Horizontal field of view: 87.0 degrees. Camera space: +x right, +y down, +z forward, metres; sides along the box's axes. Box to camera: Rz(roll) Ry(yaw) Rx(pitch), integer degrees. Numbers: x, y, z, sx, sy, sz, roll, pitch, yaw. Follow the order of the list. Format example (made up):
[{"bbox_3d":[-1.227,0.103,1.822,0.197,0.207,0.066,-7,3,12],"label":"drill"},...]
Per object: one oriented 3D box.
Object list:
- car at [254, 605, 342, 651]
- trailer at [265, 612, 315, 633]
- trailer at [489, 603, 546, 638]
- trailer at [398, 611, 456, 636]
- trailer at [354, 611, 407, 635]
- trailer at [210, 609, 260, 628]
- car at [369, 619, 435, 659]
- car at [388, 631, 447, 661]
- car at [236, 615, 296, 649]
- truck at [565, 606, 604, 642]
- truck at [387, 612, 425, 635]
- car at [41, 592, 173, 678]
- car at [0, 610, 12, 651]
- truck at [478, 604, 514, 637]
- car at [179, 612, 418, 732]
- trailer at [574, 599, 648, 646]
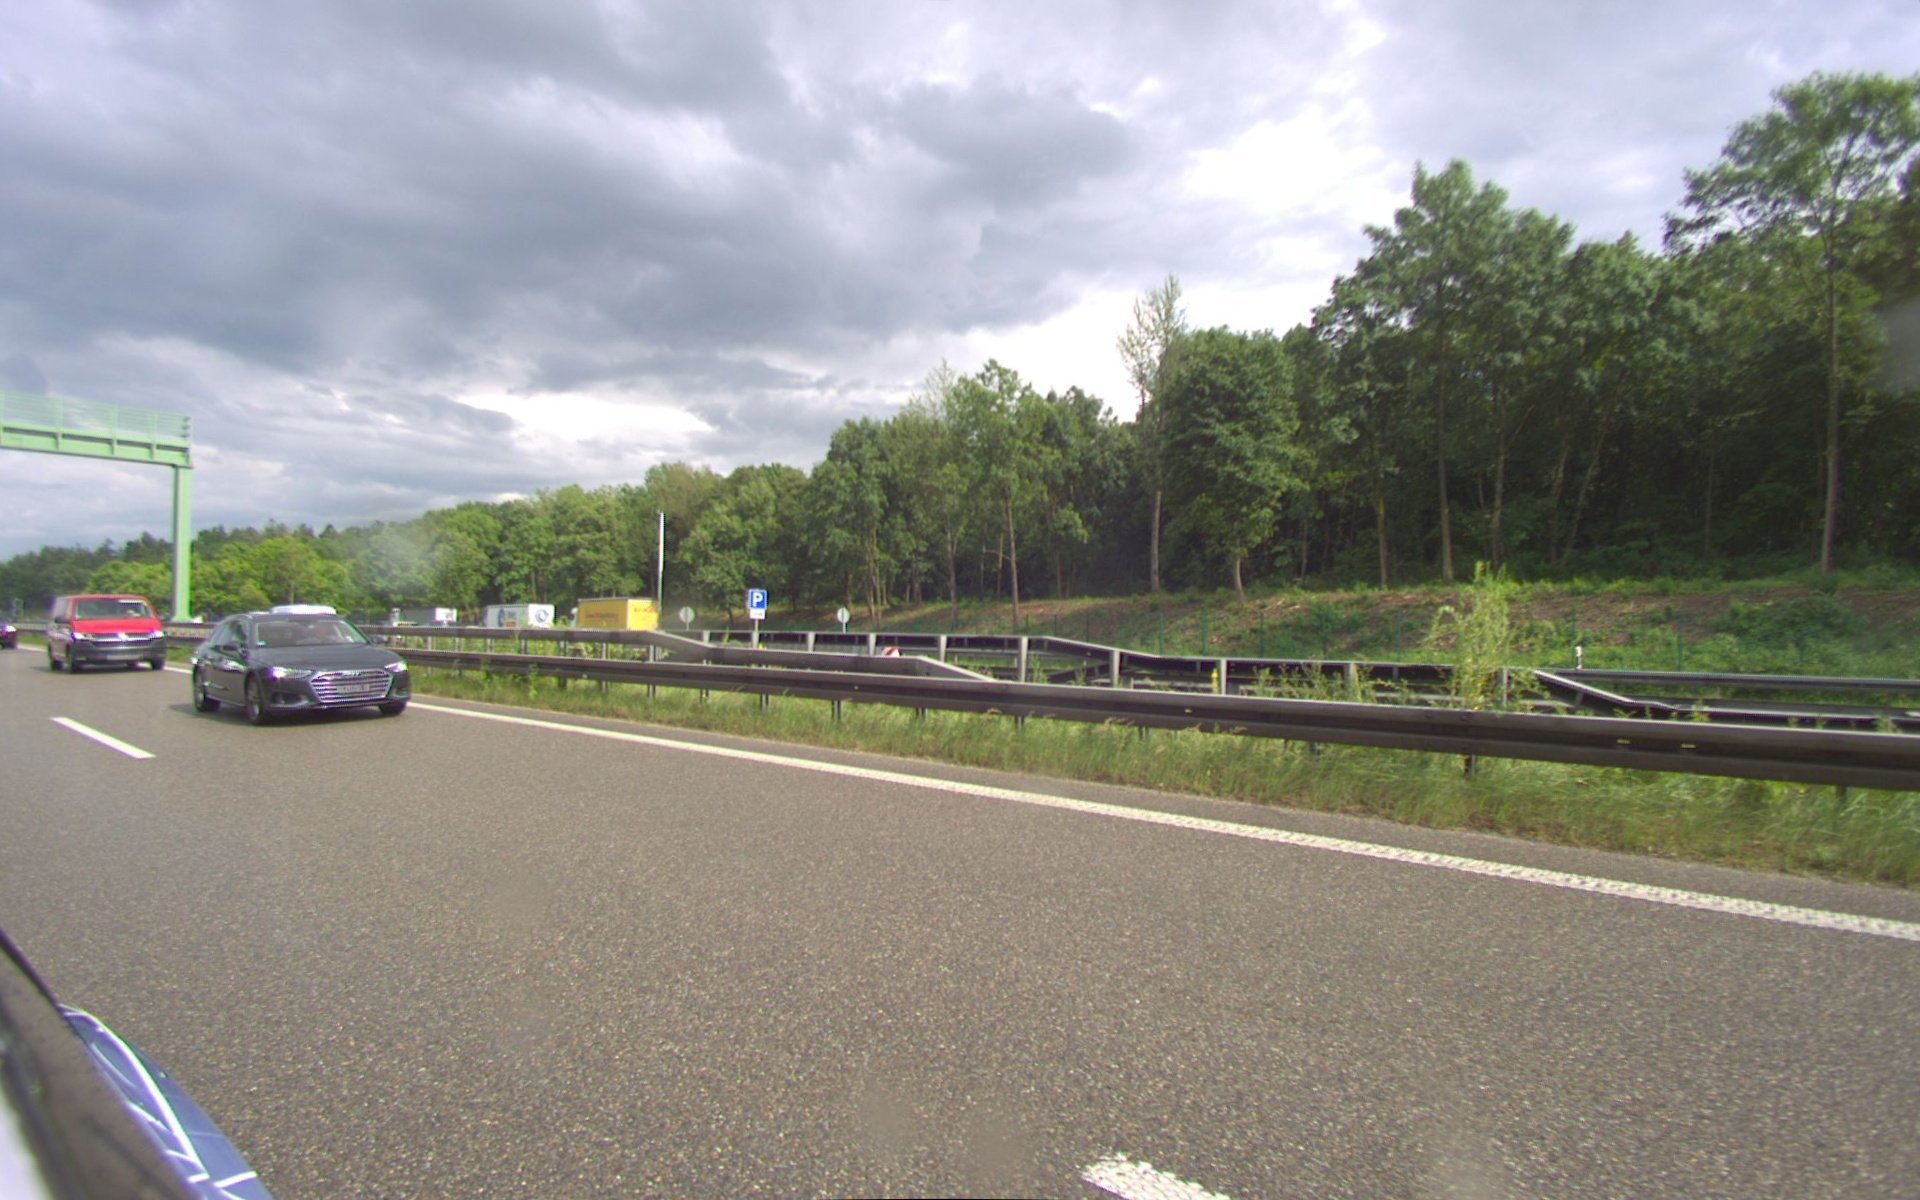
[{"bbox_3d":[-29.190,1.225,44.551,4.615,1.848,1.974,-1,1,40],"label":"car"},{"bbox_3d":[-112.009,3.745,169.049,12.632,3.296,3.153,-1,-2,39],"label":"trailer"},{"bbox_3d":[-48.277,2.211,110.243,2.156,3.627,11.735,2,-2,-41],"label":"trailer"},{"bbox_3d":[-71.086,3.150,134.731,12.174,3.217,2.986,-1,-2,43],"label":"trailer"},{"bbox_3d":[-84.574,3.325,147.565,12.641,3.296,2.577,-1,-2,41],"label":"trailer"},{"bbox_3d":[-131.760,3.389,183.838,13.376,3.296,3.050,-1,-2,35],"label":"trailer"},{"bbox_3d":[-31.046,2.132,56.292,3.998,2.029,1.973,-1,1,41],"label":"car"},{"bbox_3d":[-29.040,2.420,54.136,3.784,1.493,1.614,-1,-1,42],"label":"car"},{"bbox_3d":[-40.636,1.854,59.251,4.287,1.926,1.904,-1,-2,42],"label":"car"},{"bbox_3d":[-34.422,2.157,92.634,1.950,3.121,5.087,-1,0,-37],"label":"truck"},{"bbox_3d":[-76.500,3.254,139.777,5.597,3.208,3.009,-1,-2,43],"label":"truck"},{"bbox_3d":[-21.985,0.856,26.017,4.747,2.000,1.870,-1,-1,41],"label":"car"},{"bbox_3d":[-41.422,1.285,42.547,4.292,1.682,1.871,-1,-1,41],"label":"car"},{"bbox_3d":[-52.994,2.338,115.608,2.136,3.648,5.585,2,-2,-41],"label":"truck"},{"bbox_3d":[-9.496,0.904,14.369,4.465,1.422,1.701,-1,0,41],"label":"car"},{"bbox_3d":[-30.147,1.823,86.880,1.967,3.722,13.689,0,0,-37],"label":"trailer"}]
